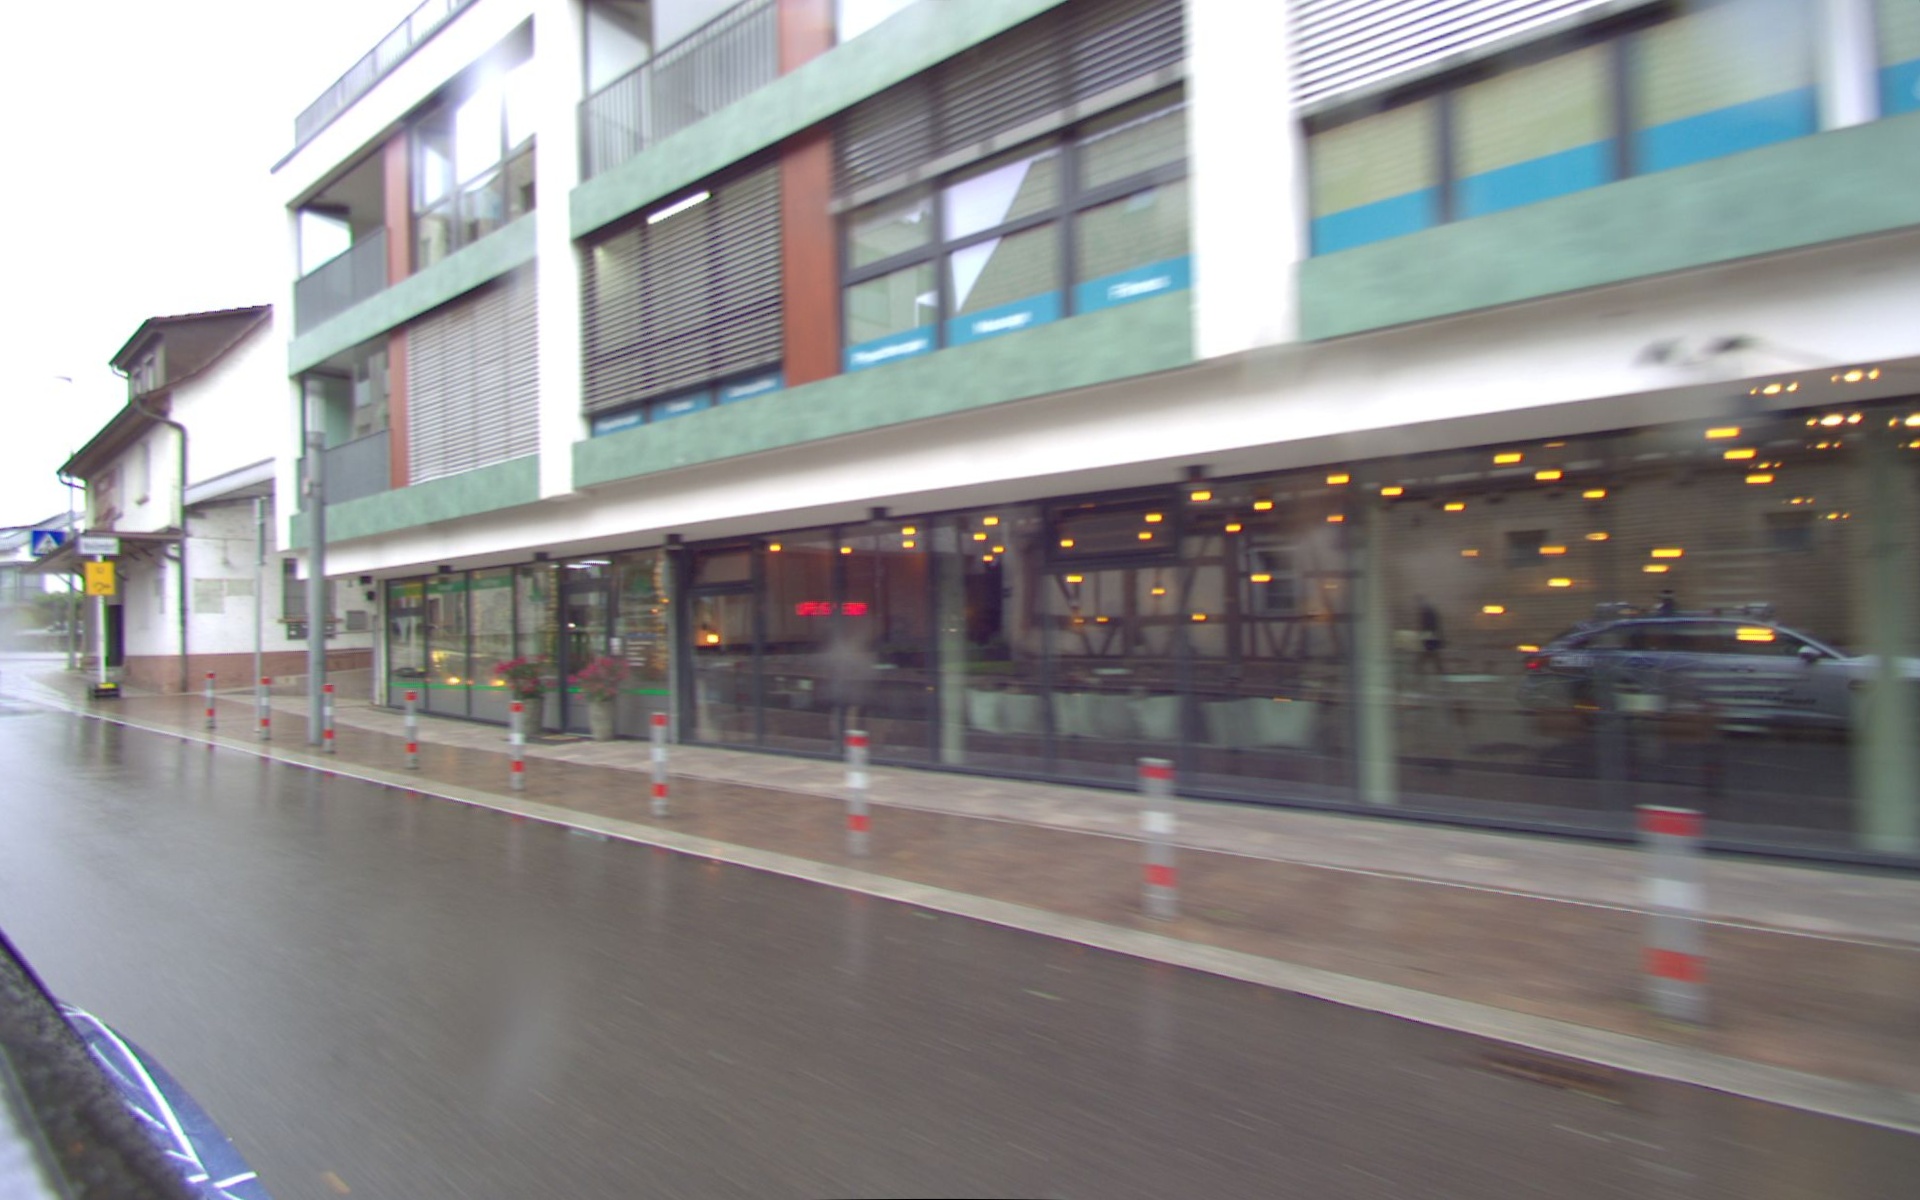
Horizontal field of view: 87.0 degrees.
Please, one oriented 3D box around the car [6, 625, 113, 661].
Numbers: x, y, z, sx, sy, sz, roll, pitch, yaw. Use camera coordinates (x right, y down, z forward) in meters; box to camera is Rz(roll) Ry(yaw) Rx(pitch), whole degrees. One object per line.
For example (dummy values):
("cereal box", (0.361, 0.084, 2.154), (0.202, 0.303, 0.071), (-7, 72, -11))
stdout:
("car", (-52.912, 2.559, 59.605), (4.414, 2.029, 2.005), (2, -3, -35))
